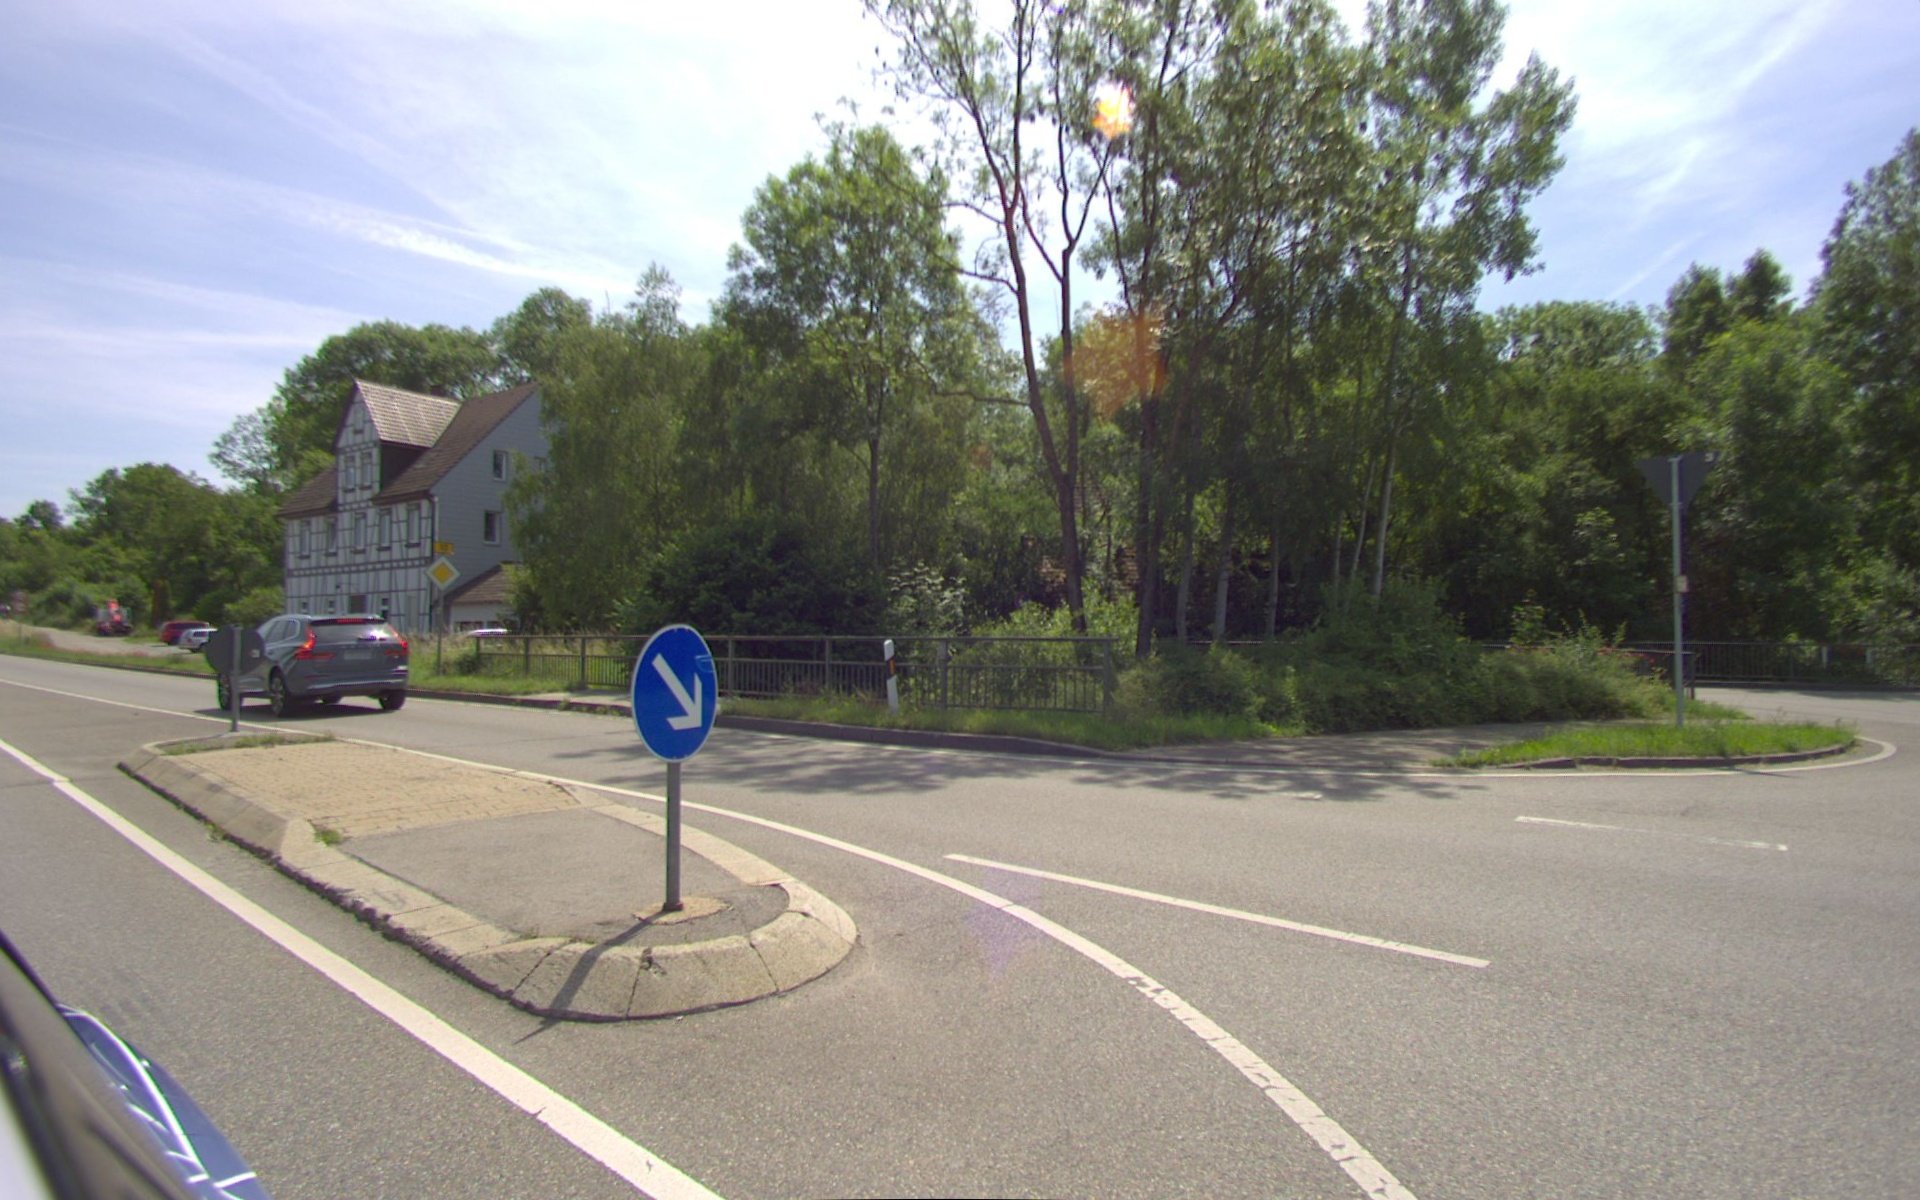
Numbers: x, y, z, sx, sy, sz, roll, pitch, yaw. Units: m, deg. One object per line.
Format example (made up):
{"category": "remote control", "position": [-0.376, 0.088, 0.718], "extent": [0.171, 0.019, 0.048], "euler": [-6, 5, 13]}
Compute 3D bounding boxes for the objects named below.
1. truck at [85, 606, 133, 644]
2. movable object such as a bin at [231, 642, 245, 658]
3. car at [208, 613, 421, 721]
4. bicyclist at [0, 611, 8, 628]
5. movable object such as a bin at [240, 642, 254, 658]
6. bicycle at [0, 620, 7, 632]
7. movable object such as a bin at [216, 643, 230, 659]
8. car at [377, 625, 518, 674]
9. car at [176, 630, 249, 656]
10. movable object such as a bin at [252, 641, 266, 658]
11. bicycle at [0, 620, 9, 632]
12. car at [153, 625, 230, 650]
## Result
{"category": "truck", "position": [-70.079, 2.009, 83.289], "extent": [6.770, 2.986, 2.005], "euler": [0, 0, 41]}
{"category": "movable object such as a bin", "position": [-44.250, 3.071, 62.023], "extent": [0.653, 0.977, 0.499], "euler": [0, 0, 33]}
{"category": "car", "position": [-11.399, 1.105, 17.760], "extent": [4.428, 1.667, 1.928], "euler": [-2, -3, 40]}
{"category": "bicyclist", "position": [-98.272, 2.003, 103.875], "extent": [0.936, 1.727, 0.740], "euler": [-1, 0, 43]}
{"category": "movable object such as a bin", "position": [-44.029, 3.080, 62.532], "extent": [0.653, 0.978, 0.499], "euler": [0, 0, 33]}
{"category": "bicycle", "position": [-100.835, 2.693, 106.363], "extent": [2.103, 1.221, 0.741], "euler": [0, 0, 41]}
{"category": "movable object such as a bin", "position": [-44.788, 3.107, 61.502], "extent": [0.653, 0.943, 0.499], "euler": [0, 0, 33]}
{"category": "car", "position": [-20.167, 1.918, 40.012], "extent": [1.858, 1.733, 4.621], "euler": [-4, -3, 36]}
{"category": "car", "position": [-46.644, 2.643, 63.219], "extent": [1.606, 1.476, 3.348], "euler": [-1, -1, 34]}
{"category": "movable object such as a bin", "position": [-43.669, 3.091, 63.045], "extent": [0.653, 0.984, 0.499], "euler": [0, 0, 33]}
{"category": "bicycle", "position": [-98.229, 2.660, 103.835], "extent": [2.105, 1.189, 0.740], "euler": [0, 0, 43]}
{"category": "car", "position": [-53.560, 2.587, 70.550], "extent": [1.832, 1.631, 3.985], "euler": [-1, -1, 41]}
